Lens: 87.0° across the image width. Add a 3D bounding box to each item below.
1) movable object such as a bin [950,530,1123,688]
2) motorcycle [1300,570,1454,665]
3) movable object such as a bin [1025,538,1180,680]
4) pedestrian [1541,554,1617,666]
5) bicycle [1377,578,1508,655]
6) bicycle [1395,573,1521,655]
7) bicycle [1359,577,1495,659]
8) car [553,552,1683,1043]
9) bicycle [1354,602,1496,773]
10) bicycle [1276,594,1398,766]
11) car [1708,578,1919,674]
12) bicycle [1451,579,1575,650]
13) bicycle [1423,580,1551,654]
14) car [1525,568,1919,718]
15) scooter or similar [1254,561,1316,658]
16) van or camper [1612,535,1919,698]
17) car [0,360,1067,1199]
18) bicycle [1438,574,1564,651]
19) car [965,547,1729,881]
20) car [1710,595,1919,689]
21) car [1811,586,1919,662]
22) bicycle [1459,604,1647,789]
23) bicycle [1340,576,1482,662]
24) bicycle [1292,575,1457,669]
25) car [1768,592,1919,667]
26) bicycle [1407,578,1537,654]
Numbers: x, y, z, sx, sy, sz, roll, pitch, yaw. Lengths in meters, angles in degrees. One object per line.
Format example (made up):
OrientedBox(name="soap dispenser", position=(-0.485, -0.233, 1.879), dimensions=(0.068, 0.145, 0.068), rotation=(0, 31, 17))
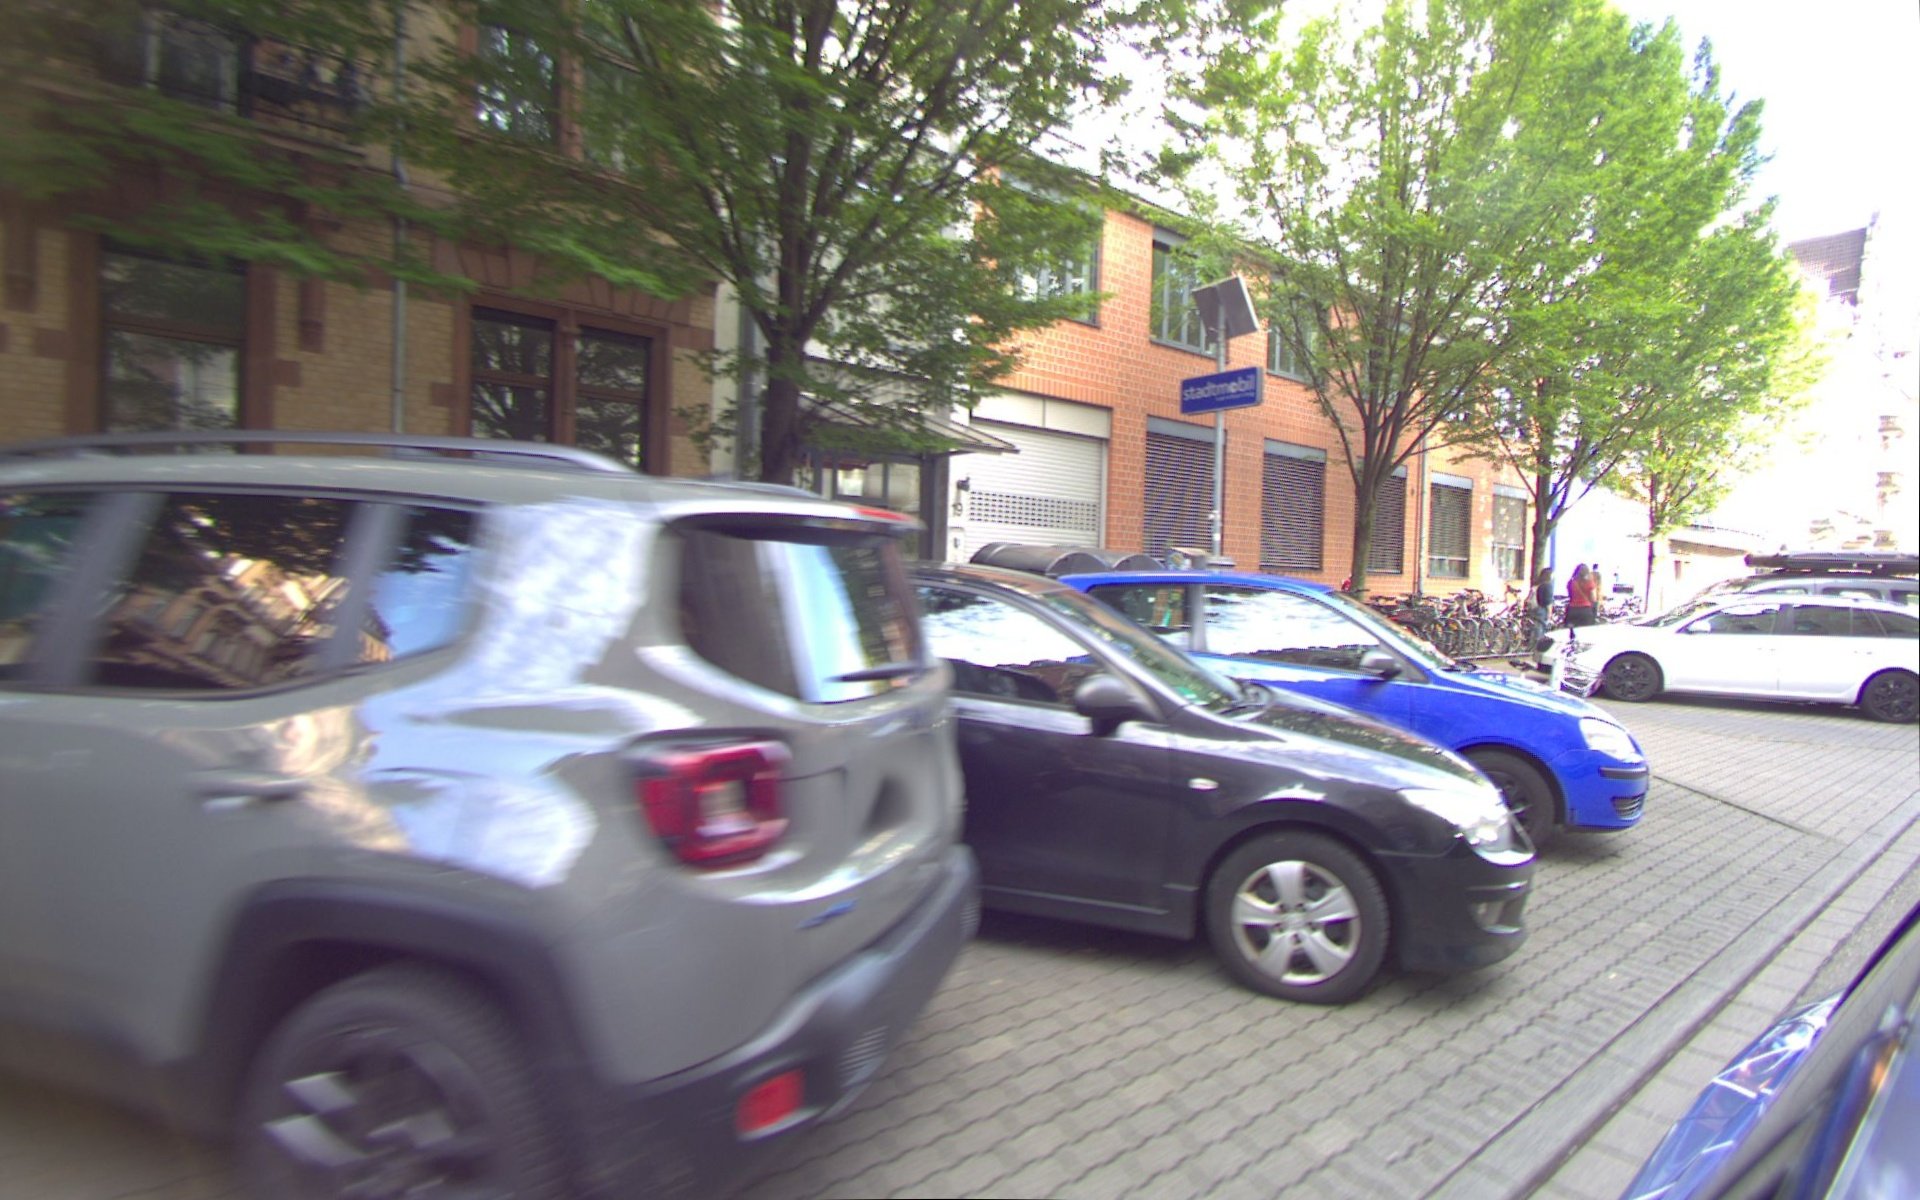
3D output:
OrientedBox(name="movable object such as a bin", position=(0.829, 0.064, 11.237), dimensions=(1.144, 1.476, 1.376), rotation=(0, 9, -42))
OrientedBox(name="motorcycle", position=(6.423, 0.231, 15.682), dimensions=(0.813, 1.241, 1.984), rotation=(0, 5, -41))
OrientedBox(name="movable object such as a bin", position=(1.667, 0.071, 11.954), dimensions=(1.020, 1.462, 1.375), rotation=(0, 7, -42))
OrientedBox(name="pedestrian", position=(10.329, 0.146, 16.886), dimensions=(0.937, 1.759, 0.753), rotation=(0, 5, -44))
OrientedBox(name="bicycle", position=(8.154, 0.249, 17.183), dimensions=(0.528, 1.132, 1.886), rotation=(0, 5, -41))
OrientedBox(name="bicycle", position=(8.607, 0.213, 17.558), dimensions=(0.607, 1.219, 1.781), rotation=(0, 5, -42))
OrientedBox(name="bicycle", position=(7.713, 0.266, 16.789), dimensions=(0.607, 1.145, 1.896), rotation=(0, 5, -42))
OrientedBox(name="car", position=(0.496, 0.571, 4.573), dimensions=(4.065, 1.539, 1.837), rotation=(1, 1, 14))
OrientedBox(name="bicycle", position=(3.823, 0.658, 8.461), dimensions=(0.441, 1.166, 1.786), rotation=(1, 3, 4))
OrientedBox(name="bicycle", position=(3.102, 0.594, 8.467), dimensions=(0.461, 1.227, 1.716), rotation=(1, 2, 4))
OrientedBox(name="car", position=(17.728, 0.480, 20.294), dimensions=(3.949, 1.783, 1.901), rotation=(1, 0, 19))
OrientedBox(name="bicycle", position=(10.472, 0.245, 19.221), dimensions=(0.607, 1.125, 1.896), rotation=(0, 5, -42))
OrientedBox(name="bicycle", position=(9.542, 0.277, 18.381), dimensions=(0.607, 1.115, 1.896), rotation=(0, 5, -42))
OrientedBox(name="car", position=(10.368, 0.500, 13.307), dimensions=(4.746, 1.562, 1.860), rotation=(4, 3, 19))
OrientedBox(name="scooter or similar", position=(4.919, 0.108, 15.384), dimensions=(0.516, 1.329, 1.321), rotation=(4, 4, 5))
OrientedBox(name="van or camper", position=(12.235, 0.198, 14.975), dimensions=(3.951, 2.206, 1.987), rotation=(1, 0, 21))
OrientedBox(name="car", position=(-1.815, 0.413, 2.936), dimensions=(3.944, 1.720, 1.843), rotation=(3, 1, 16))
OrientedBox(name="bicycle", position=(10.016, 0.205, 18.799), dimensions=(0.607, 1.219, 1.896), rotation=(0, 5, -42))
OrientedBox(name="car", position=(2.203, 0.497, 6.497), dimensions=(3.957, 1.456, 1.712), rotation=(4, 3, 24))
OrientedBox(name="car", position=(14.932, 0.661, 16.527), dimensions=(3.949, 1.417, 1.651), rotation=(1, 0, 19))
OrientedBox(name="car", position=(22.727, 0.550, 23.591), dimensions=(3.949, 1.694, 1.915), rotation=(1, 0, 19))
OrientedBox(name="bicycle", position=(4.575, 0.673, 7.951), dimensions=(0.691, 1.227, 1.744), rotation=(1, 1, 10))
OrientedBox(name="bicycle", position=(7.206, 0.276, 16.262), dimensions=(0.607, 1.154, 1.920), rotation=(0, 5, -42))
OrientedBox(name="bicycle", position=(6.051, 0.289, 14.875), dimensions=(0.806, 1.108, 2.026), rotation=(0, 6, -40))
OrientedBox(name="car", position=(20.490, 0.623, 22.095), dimensions=(3.949, 1.527, 1.988), rotation=(1, 1, 19))
OrientedBox(name="bicycle", position=(9.045, 0.251, 17.943), dimensions=(0.607, 1.133, 1.896), rotation=(0, 5, -42))
